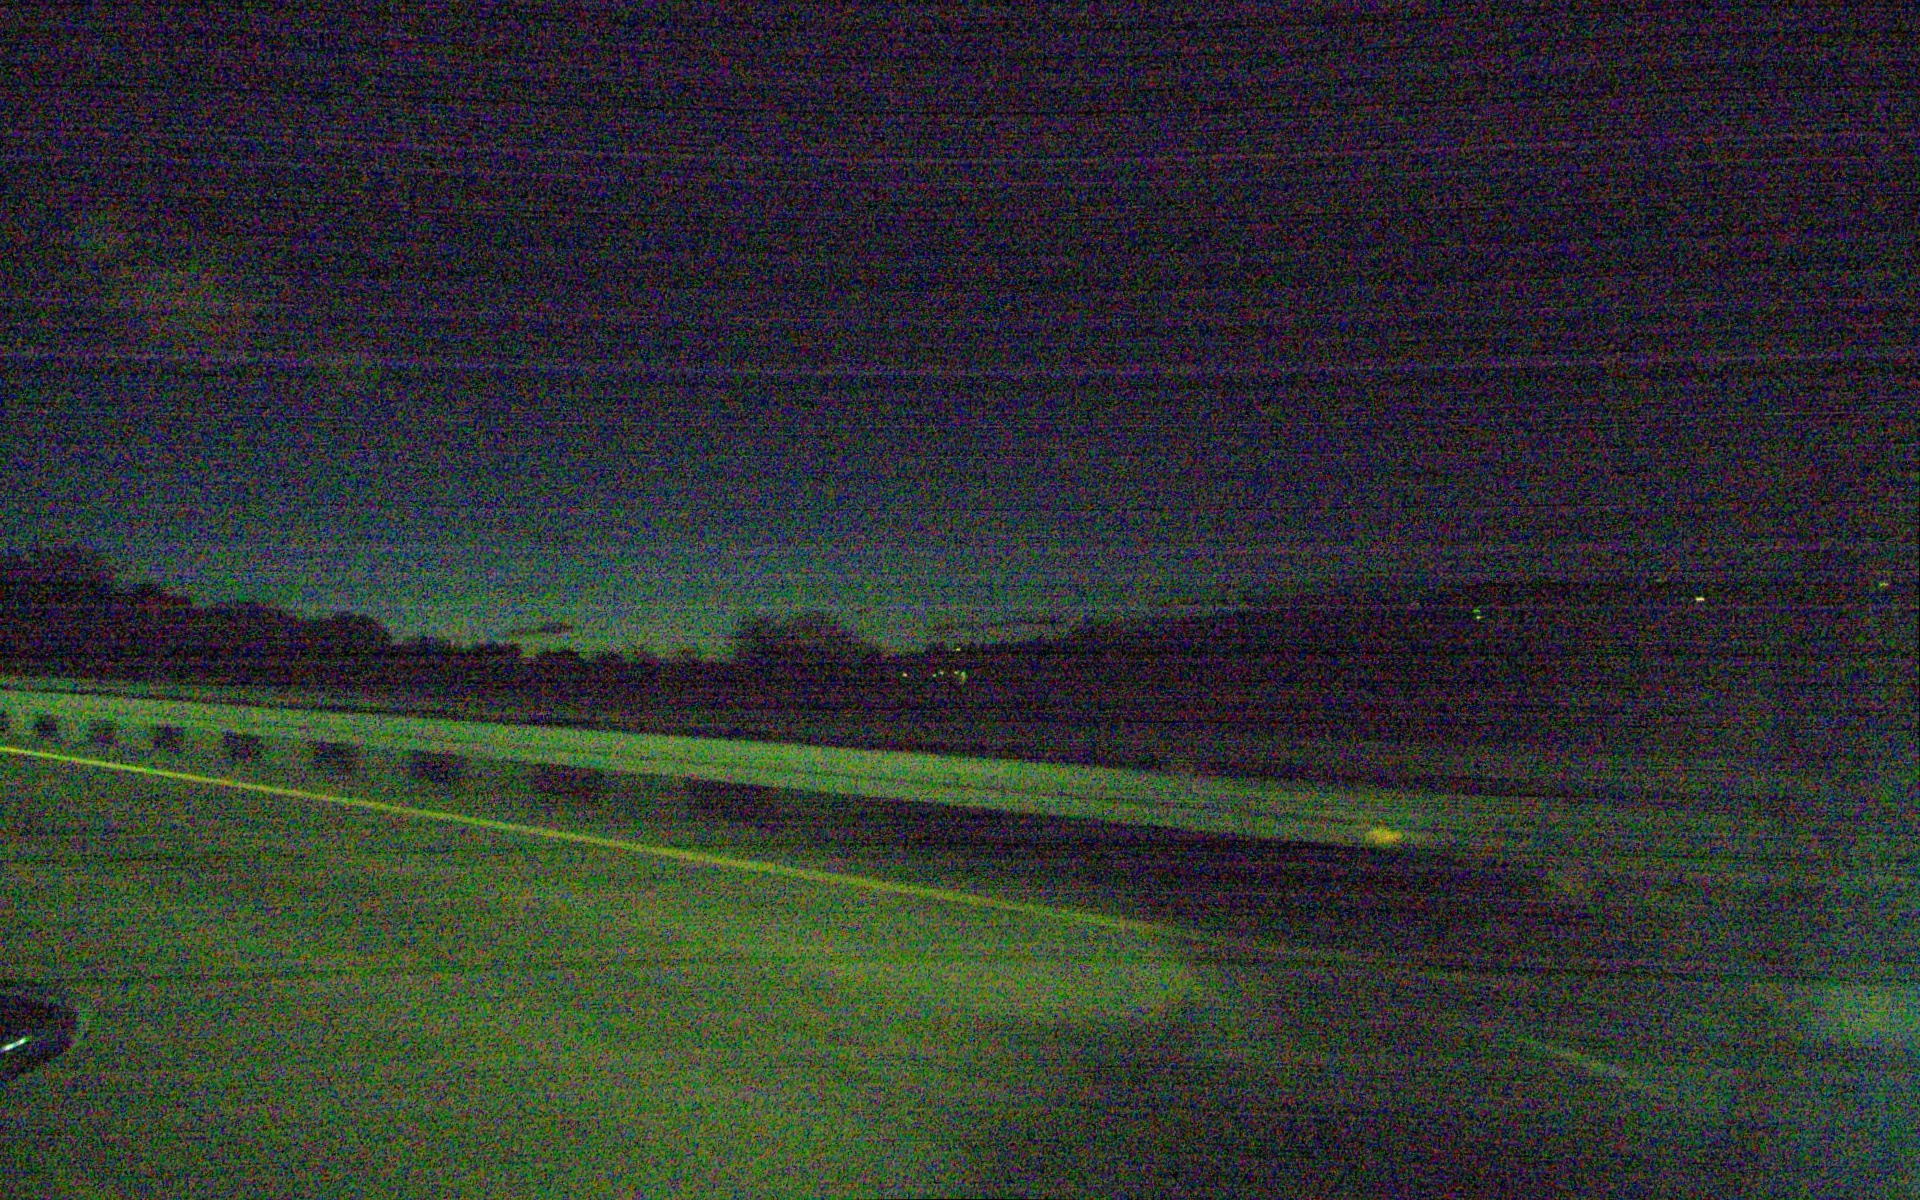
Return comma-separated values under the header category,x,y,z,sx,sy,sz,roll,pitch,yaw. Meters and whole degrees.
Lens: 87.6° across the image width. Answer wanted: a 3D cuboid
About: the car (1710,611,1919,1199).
category,x,y,z,sx,sy,sz,roll,pitch,yaw
car,3.755,0.743,0.935,4.809,1.445,1.802,0,0,35
